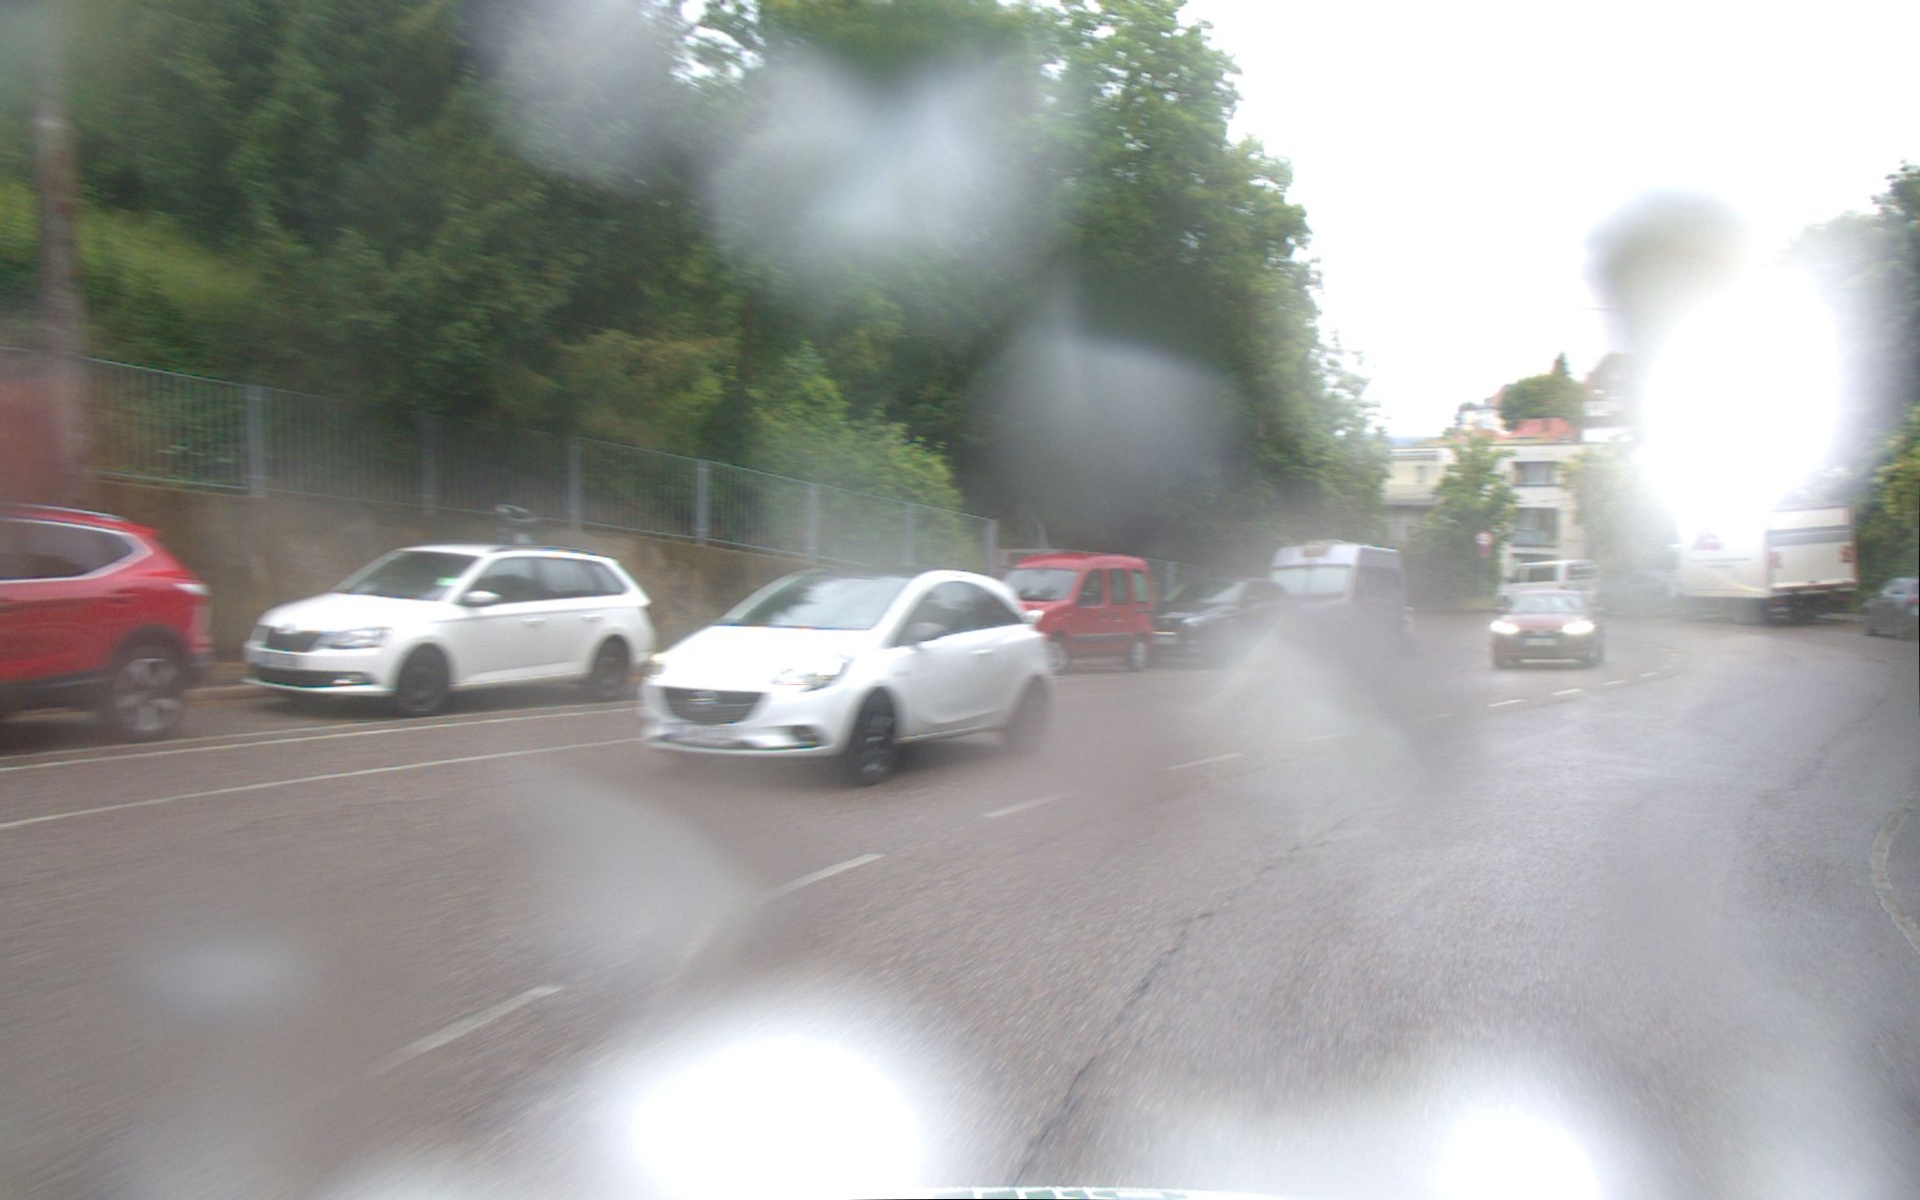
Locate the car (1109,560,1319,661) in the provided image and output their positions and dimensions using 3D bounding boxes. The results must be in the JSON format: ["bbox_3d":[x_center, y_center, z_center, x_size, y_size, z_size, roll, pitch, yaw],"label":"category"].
[{"bbox_3d":[4.614,0.149,29.533,1.960,1.647,4.381,1,1,35],"label":"car"}]

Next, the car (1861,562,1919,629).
[{"bbox_3d":[23.174,-0.154,39.720,1.684,1.469,4.128,-2,1,14],"label":"car"}]

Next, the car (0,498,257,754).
[{"bbox_3d":[-6.875,0.136,10.668,1.739,1.613,4.434,2,1,20],"label":"car"}]

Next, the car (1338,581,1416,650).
[{"bbox_3d":[10.655,0.421,42.243,1.765,1.610,4.028,-2,-1,14],"label":"car"}]

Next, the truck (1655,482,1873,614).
[{"bbox_3d":[24.683,-1.501,51.360,2.944,3.636,8.339,-2,0,3],"label":"truck"}]

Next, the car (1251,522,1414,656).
[{"bbox_3d":[8.078,-0.223,35.352,2.032,2.594,6.342,-1,0,25],"label":"car"}]

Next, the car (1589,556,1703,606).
[{"bbox_3d":[24.253,-0.650,58.652,1.687,1.582,4.268,-4,1,-9],"label":"car"}]

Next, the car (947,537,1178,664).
[{"bbox_3d":[1.671,0.033,25.562,1.720,1.799,4.124,1,-1,34],"label":"car"}]

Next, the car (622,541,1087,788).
[{"bbox_3d":[-0.615,0.371,12.569,1.572,1.521,4.026,3,2,29],"label":"car"}]

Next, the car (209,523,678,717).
[{"bbox_3d":[-4.675,0.129,15.608,1.705,1.504,4.192,4,2,28],"label":"car"}]

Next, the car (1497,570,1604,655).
[{"bbox_3d":[11.597,0.223,32.416,1.829,1.543,4.485,-1,0,20],"label":"car"}]

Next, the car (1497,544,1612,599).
[{"bbox_3d":[23.259,-1.076,64.872,1.847,2.049,4.670,-1,0,-17],"label":"car"}]
